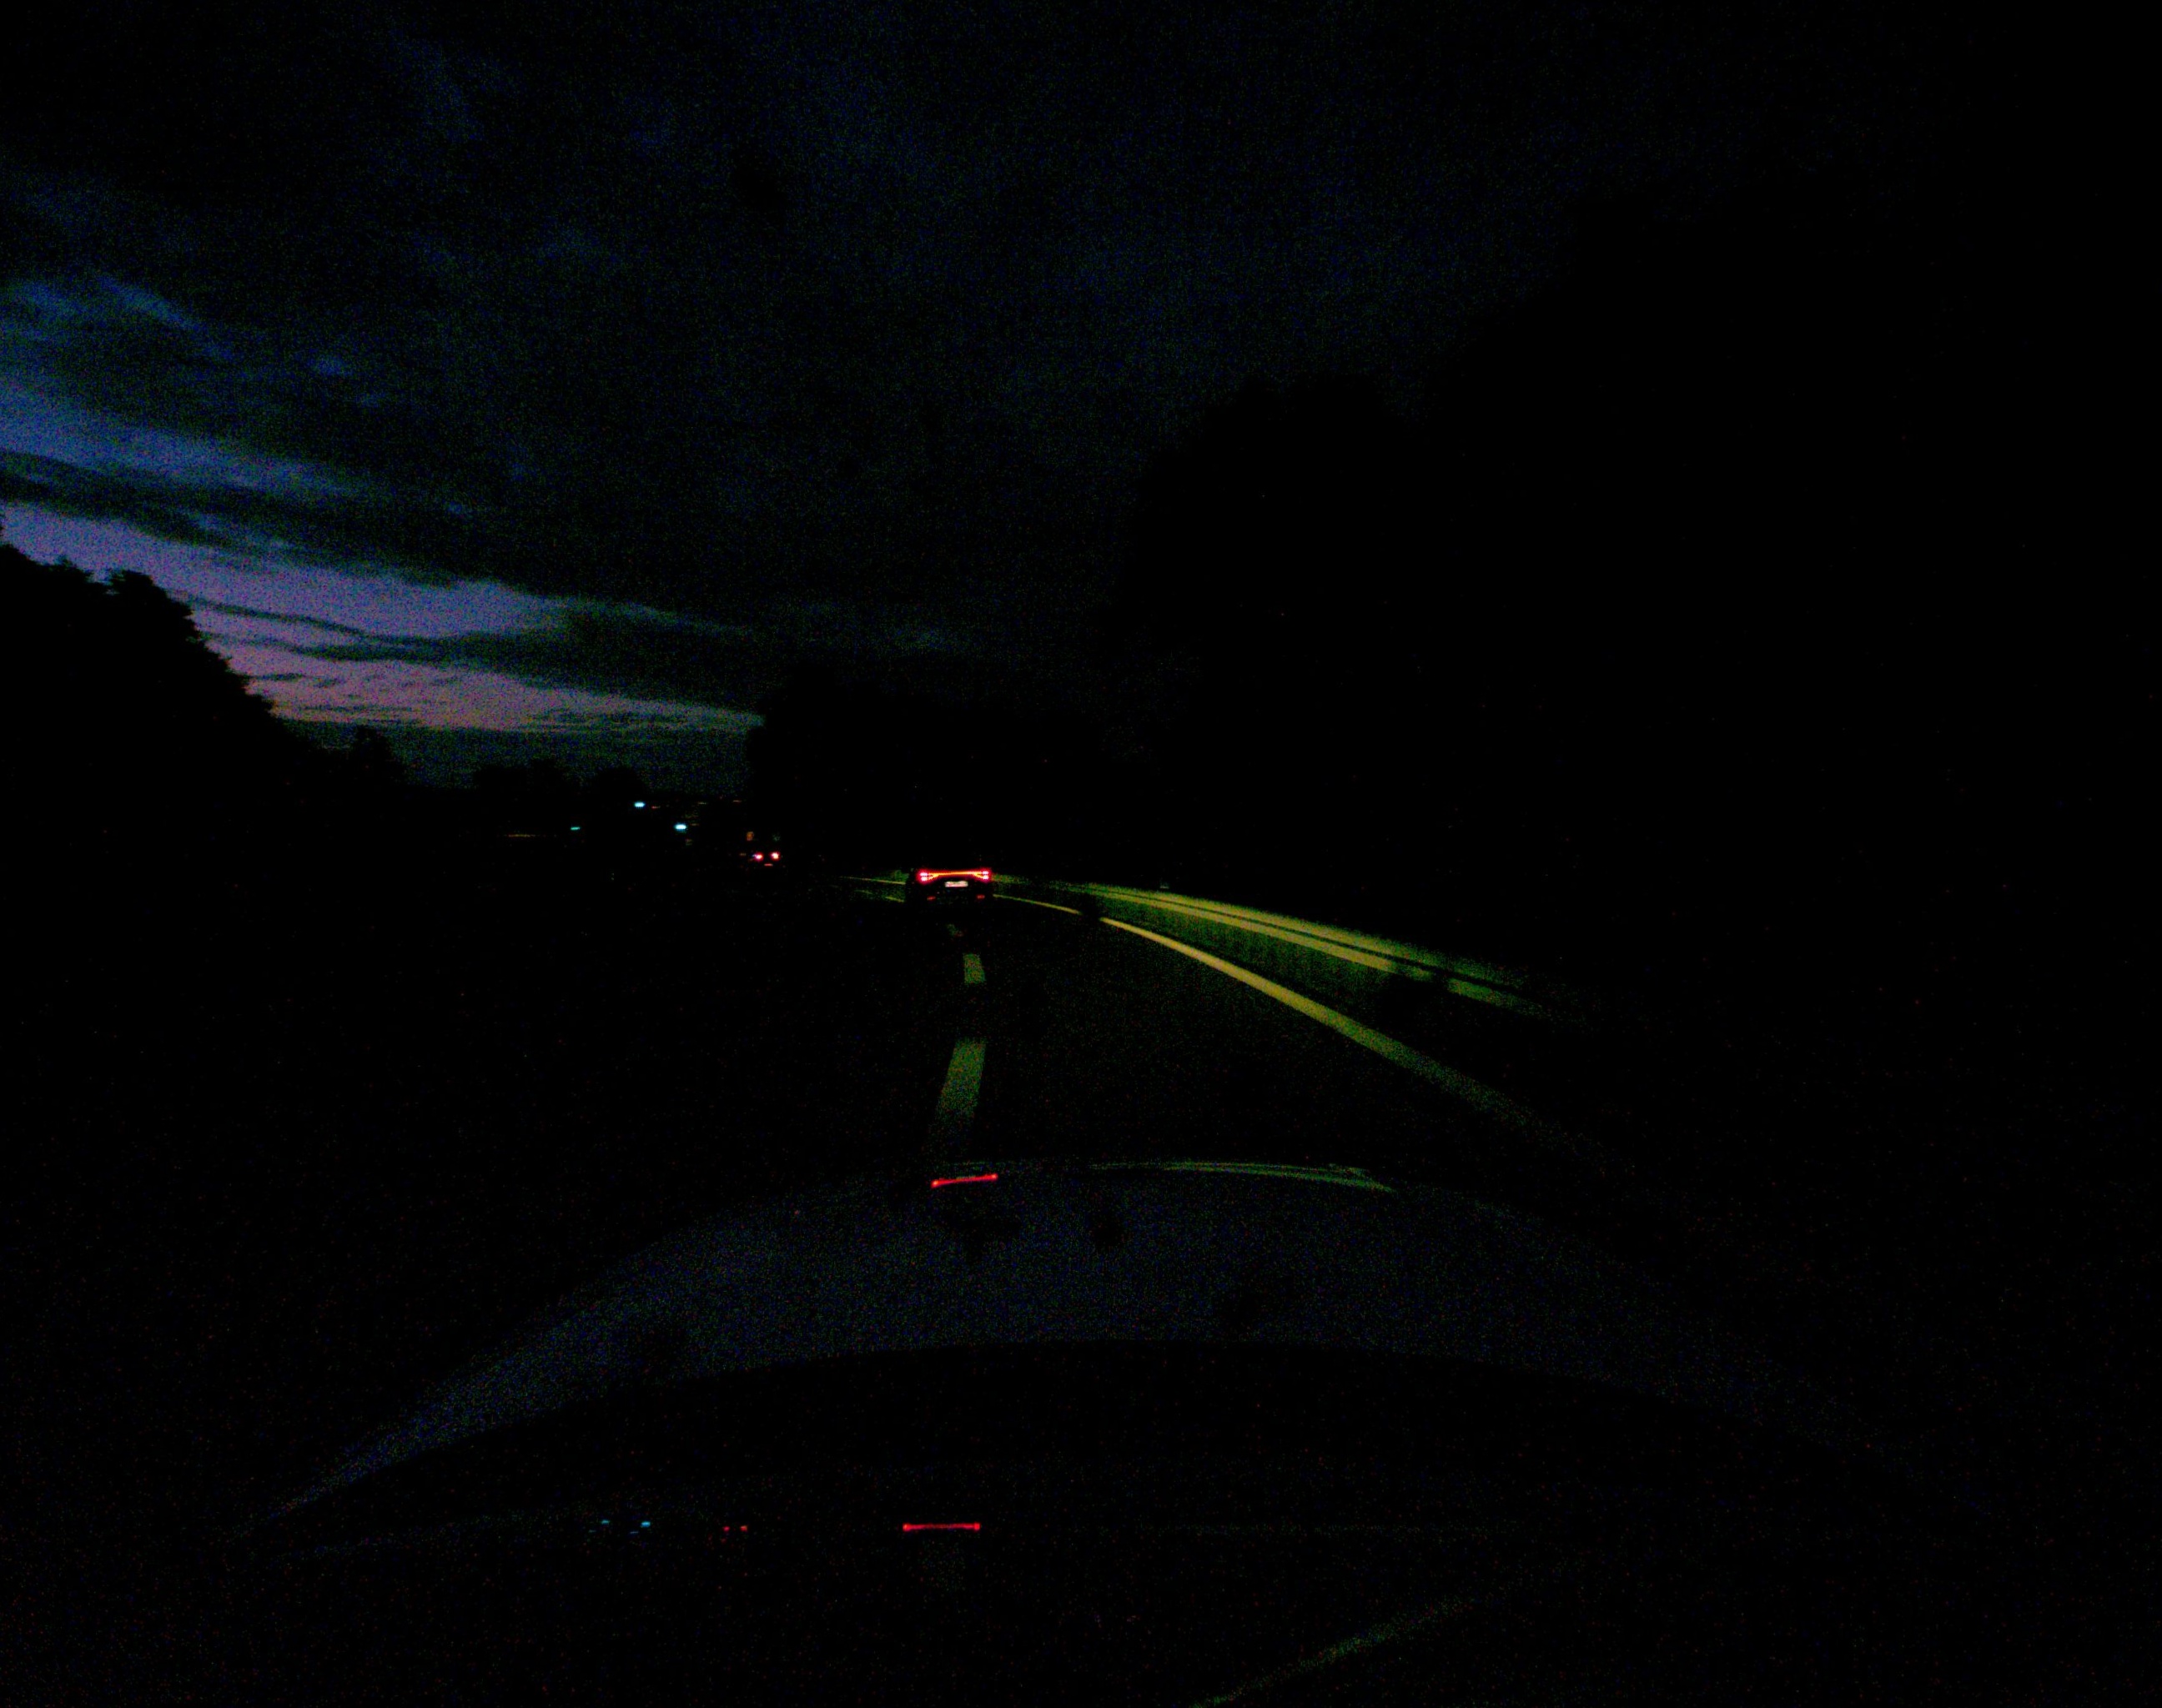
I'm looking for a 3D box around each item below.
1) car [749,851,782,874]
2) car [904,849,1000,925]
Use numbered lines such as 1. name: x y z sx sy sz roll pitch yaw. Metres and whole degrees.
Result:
1. car: -23.469 0.635 60.488 1.792 1.653 3.962 0 -1 -29
2. car: -3.375 0.753 20.596 1.904 1.619 4.533 -2 0 -15
